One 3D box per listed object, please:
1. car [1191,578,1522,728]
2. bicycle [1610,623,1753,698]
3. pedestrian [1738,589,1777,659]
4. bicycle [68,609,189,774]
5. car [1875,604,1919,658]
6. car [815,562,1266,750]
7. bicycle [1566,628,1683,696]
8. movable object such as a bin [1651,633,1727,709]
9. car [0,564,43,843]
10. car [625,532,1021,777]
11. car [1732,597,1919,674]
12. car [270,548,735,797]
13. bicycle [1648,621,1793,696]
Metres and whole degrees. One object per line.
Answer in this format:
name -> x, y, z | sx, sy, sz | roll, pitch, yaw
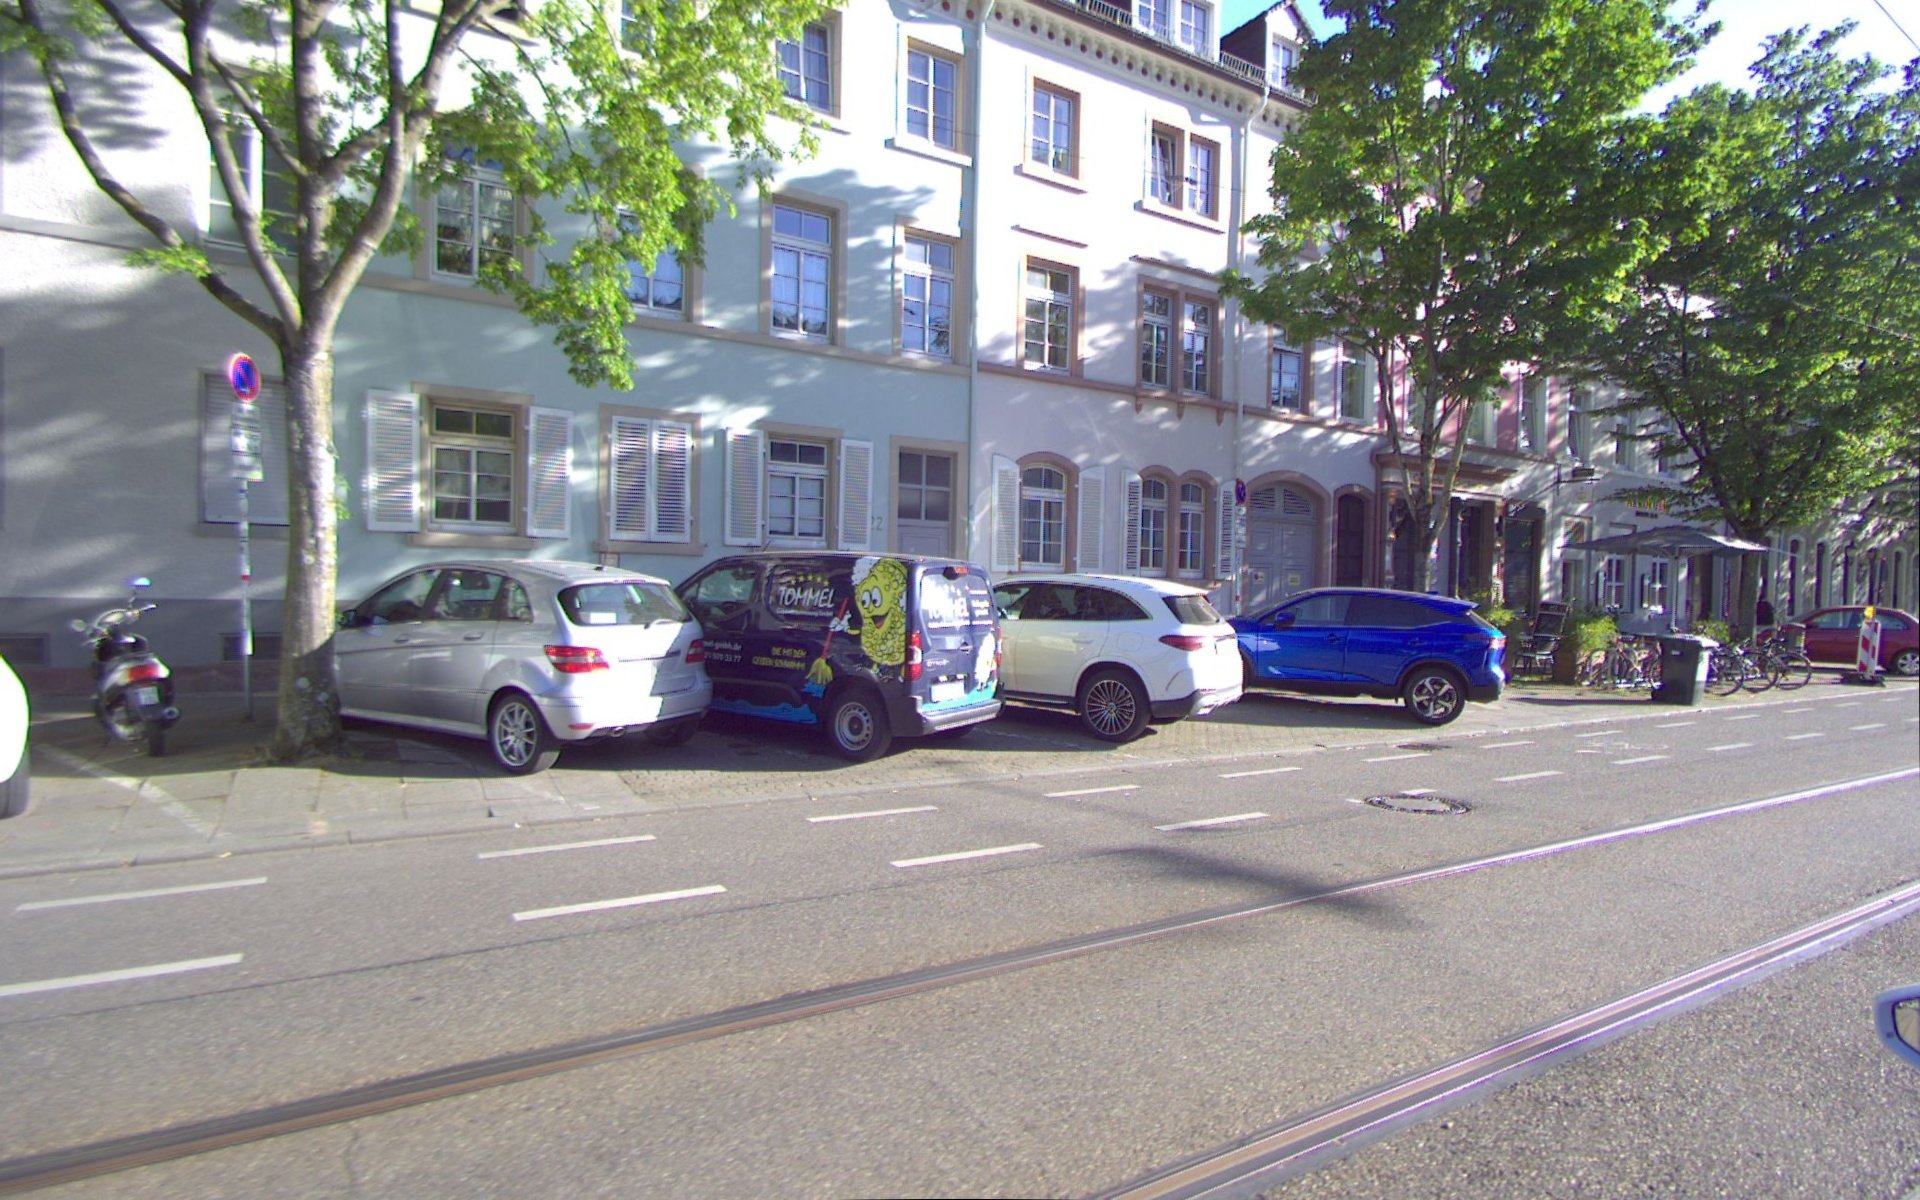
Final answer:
car -> 5.209, 0.623, 13.478 | 3.827, 1.630, 1.573 | 3, 1, 23
bicycle -> 12.763, 1.037, 17.839 | 0.561, 1.094, 1.959 | 1, 3, -28
pedestrian -> 23.572, 0.695, 29.700 | 0.550, 2.040, 0.728 | 0, 1, -30
bicycle -> -6.563, 0.670, 7.909 | 1.451, 1.175, 0.435 | 1, 0, 38
car -> 29.290, 0.975, 28.830 | 4.130, 1.511, 1.938 | 3, 2, 32
car -> 0.886, 0.494, 11.897 | 4.853, 1.818, 2.204 | 1, 1, 31
bicycle -> 11.276, 1.031, 17.091 | 0.386, 1.001, 1.585 | 0, 3, -41
movable object such as a bin -> 11.361, 1.090, 15.660 | 0.701, 1.092, 0.680 | 0, 4, -30
car -> -7.362, 0.505, 6.314 | 3.592, 1.550, 1.878 | 5, 3, 40
car -> -1.355, 0.400, 9.804 | 3.383, 1.867, 1.730 | 5, 2, 29
car -> 20.888, 0.801, 24.078 | 3.563, 1.575, 1.664 | 3, 3, 33
car -> -4.127, 0.452, 8.964 | 3.928, 1.679, 1.807 | 4, 3, 29
bicycle -> 13.920, 1.036, 18.459 | 0.560, 1.102, 1.994 | 1, 5, -28
